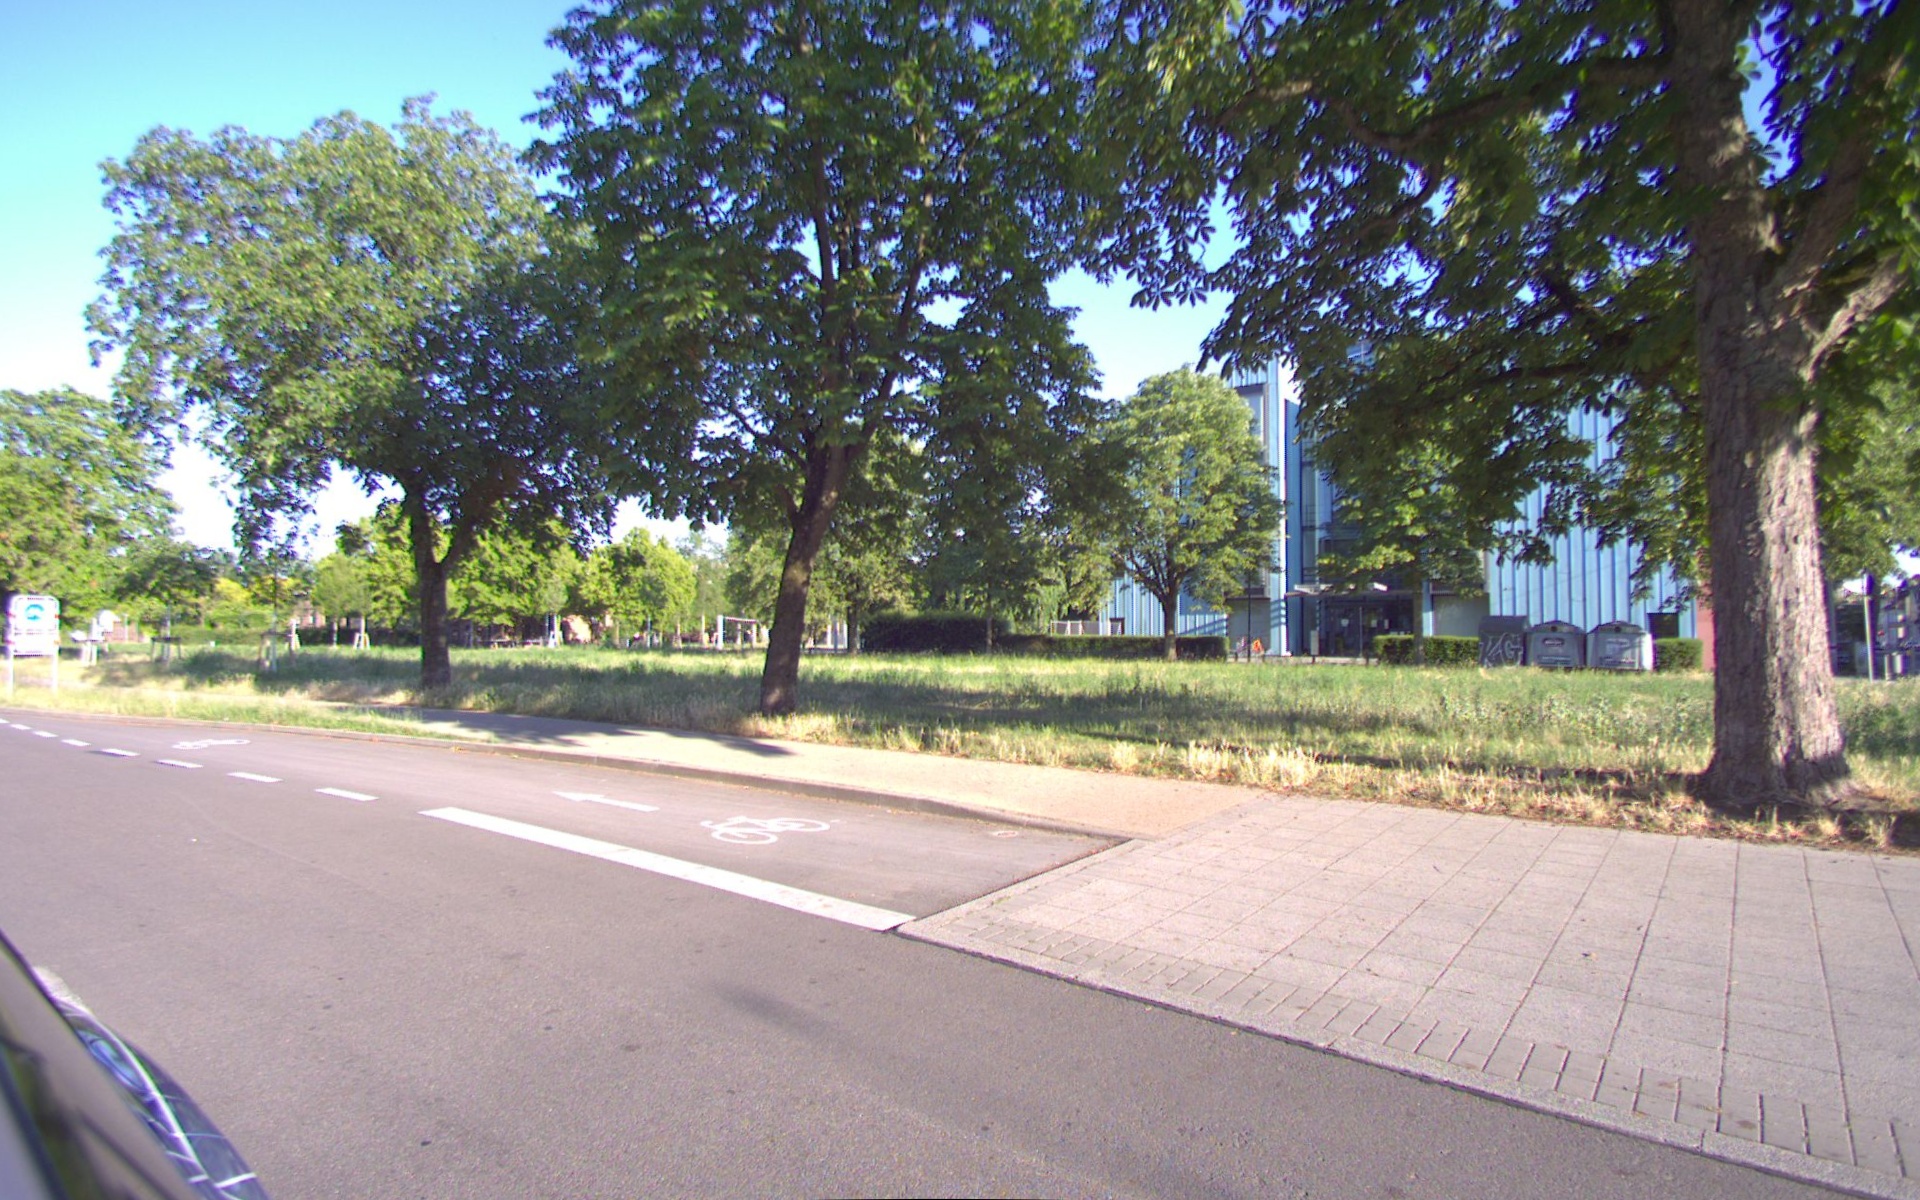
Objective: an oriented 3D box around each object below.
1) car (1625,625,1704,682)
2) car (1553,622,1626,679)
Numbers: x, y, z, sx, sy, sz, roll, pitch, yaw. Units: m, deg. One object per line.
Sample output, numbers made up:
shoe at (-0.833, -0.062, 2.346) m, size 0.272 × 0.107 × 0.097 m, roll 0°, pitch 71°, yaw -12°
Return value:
car at (23.539, 1.702, 33.727) m, size 1.996 × 1.684 × 5.159 m, roll -1°, pitch -1°, yaw 37°
car at (21.971, 1.677, 35.213) m, size 1.963 × 1.684 × 5.163 m, roll -1°, pitch 0°, yaw 34°
